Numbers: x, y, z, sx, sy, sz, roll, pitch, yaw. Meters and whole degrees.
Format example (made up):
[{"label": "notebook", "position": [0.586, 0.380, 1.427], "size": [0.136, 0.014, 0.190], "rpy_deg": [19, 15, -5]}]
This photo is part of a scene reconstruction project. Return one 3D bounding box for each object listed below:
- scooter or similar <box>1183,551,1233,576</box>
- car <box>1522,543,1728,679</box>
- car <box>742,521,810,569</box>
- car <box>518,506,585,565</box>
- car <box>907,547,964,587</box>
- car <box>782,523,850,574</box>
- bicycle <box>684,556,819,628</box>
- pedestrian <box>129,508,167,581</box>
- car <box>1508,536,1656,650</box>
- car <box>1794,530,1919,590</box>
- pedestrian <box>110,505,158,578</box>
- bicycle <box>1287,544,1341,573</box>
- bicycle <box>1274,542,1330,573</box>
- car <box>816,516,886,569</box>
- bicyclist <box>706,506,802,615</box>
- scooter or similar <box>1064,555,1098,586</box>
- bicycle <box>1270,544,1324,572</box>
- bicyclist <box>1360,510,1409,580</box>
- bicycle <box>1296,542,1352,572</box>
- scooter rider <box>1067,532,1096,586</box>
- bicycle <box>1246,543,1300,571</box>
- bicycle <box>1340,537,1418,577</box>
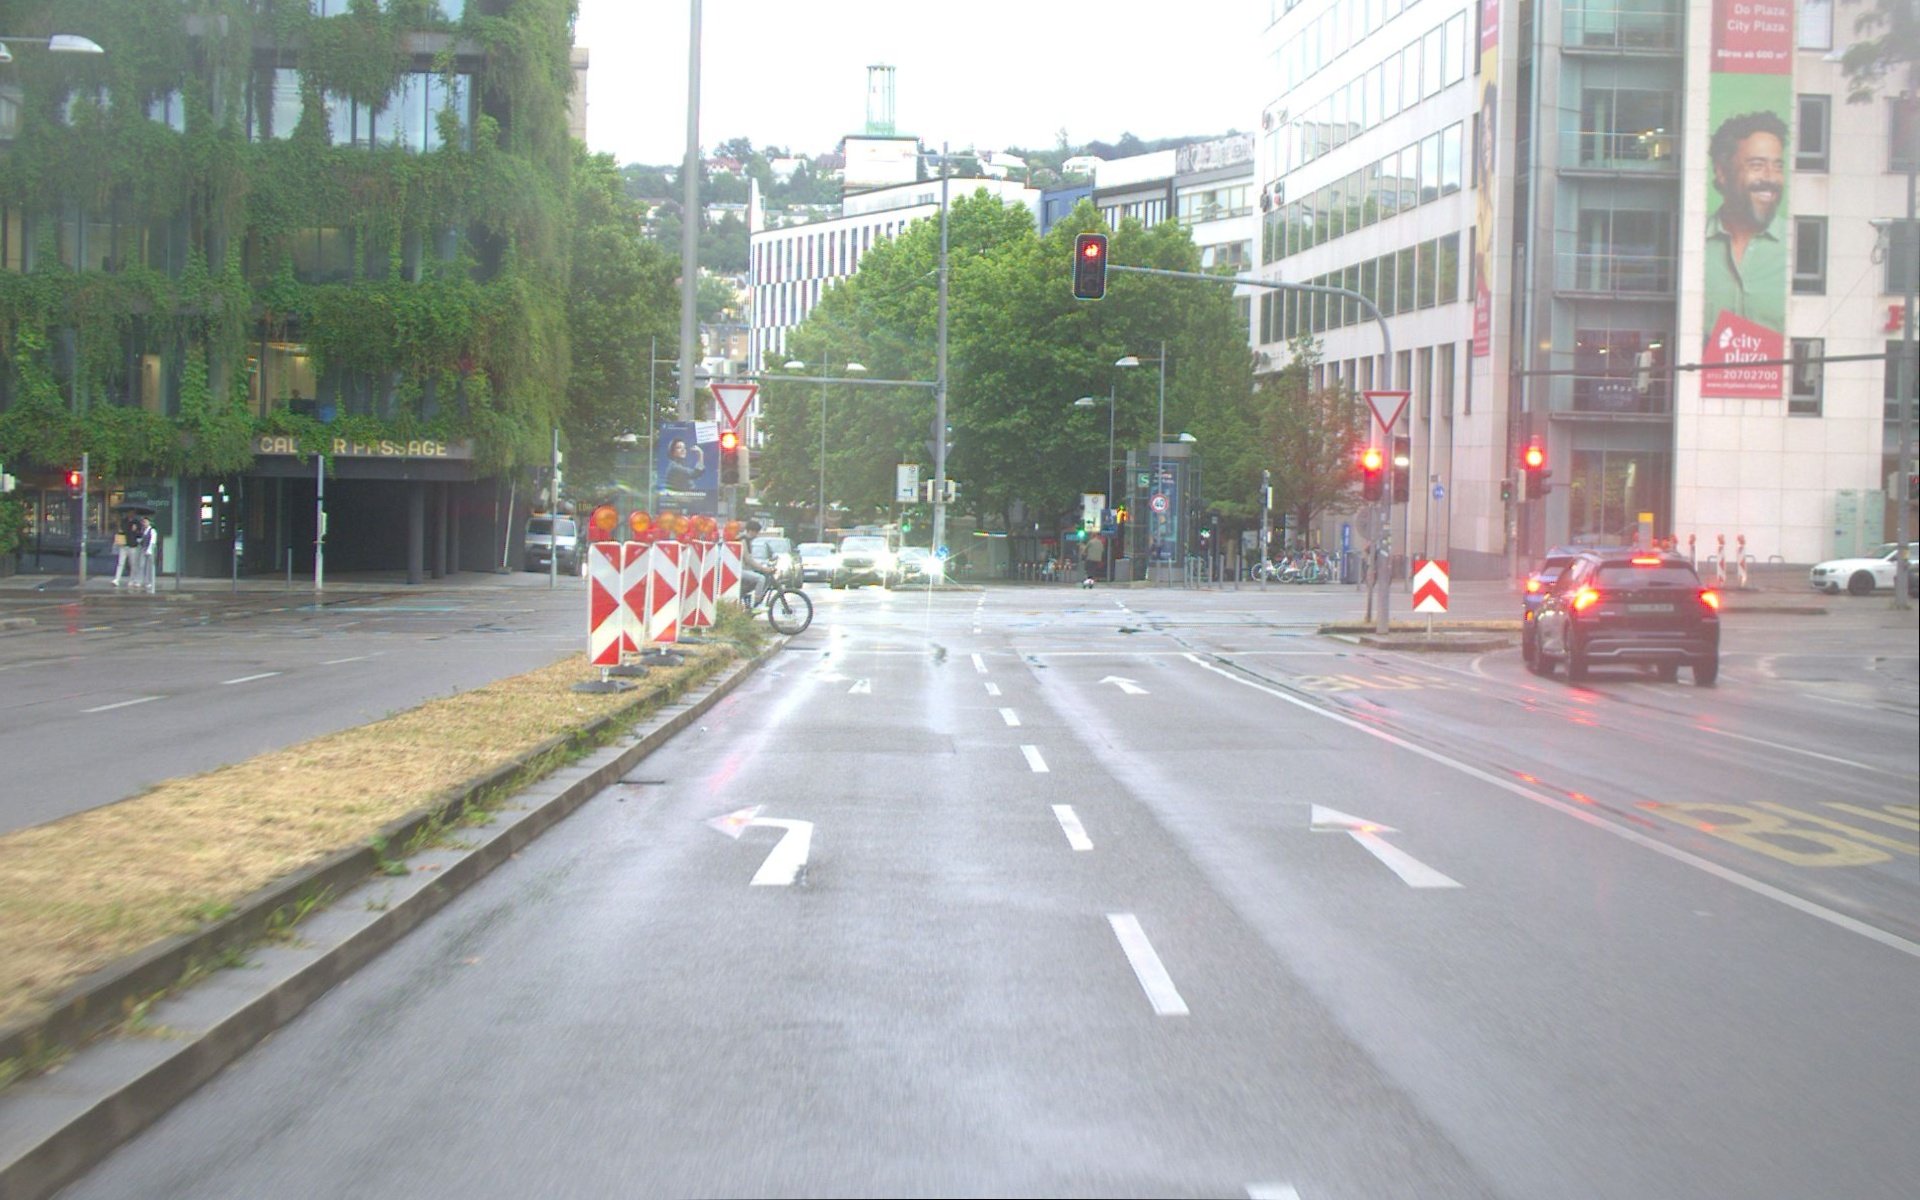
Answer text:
[{"label": "scooter or similar", "position": [8.961, -1.324, 124.289], "size": [1.745, 0.875, 0.489], "rpy_deg": [0, 1, -19]}, {"label": "car", "position": [7.950, 0.090, 41.441], "size": [1.778, 1.534, 4.147], "rpy_deg": [0, 1, 2]}, {"label": "car", "position": [-5.852, -1.747, 108.714], "size": [1.856, 1.443, 4.622], "rpy_deg": [0, 2, -7]}, {"label": "car", "position": [-13.360, -2.133, 112.672], "size": [1.993, 1.888, 4.466], "rpy_deg": [0, 1, -5]}, {"label": "car", "position": [-0.990, -1.312, 135.536], "size": [1.993, 1.438, 4.557], "rpy_deg": [0, 2, -4]}, {"label": "car", "position": [-5.257, -1.888, 124.926], "size": [2.174, 1.817, 4.645], "rpy_deg": [0, 1, -6]}, {"label": "bicycle", "position": [-3.288, -0.141, 54.424], "size": [0.847, 1.099, 2.147], "rpy_deg": [1, 2, 42]}, {"label": "pedestrian", "position": [-19.704, -1.350, 83.425], "size": [0.741, 1.752, 0.976], "rpy_deg": [0, 1, -24]}, {"label": "car", "position": [8.827, -0.140, 48.548], "size": [1.704, 1.524, 4.424], "rpy_deg": [1, 1, 15]}, {"label": "car", "position": [25.226, -1.089, 93.612], "size": [4.449, 1.592, 2.001], "rpy_deg": [0, 1, -15]}, {"label": "pedestrian", "position": [-19.992, -1.408, 83.157], "size": [0.935, 1.752, 1.172], "rpy_deg": [0, 1, -24]}, {"label": "bicycle", "position": [11.415, -1.345, 110.895], "size": [1.799, 0.931, 0.474], "rpy_deg": [1, 2, 41]}, {"label": "bicycle", "position": [10.791, -1.345, 108.543], "size": [1.799, 0.931, 0.474], "rpy_deg": [1, 2, 41]}, {"label": "car", "position": [-3.291, -1.742, 102.720], "size": [1.993, 1.545, 4.556], "rpy_deg": [0, 1, -3]}, {"label": "bicyclist", "position": [-3.263, -0.629, 54.459], "size": [0.847, 1.698, 1.296], "rpy_deg": [1, 2, 42]}, {"label": "scooter or similar", "position": [4.052, -0.988, 115.062], "size": [0.556, 1.003, 1.824], "rpy_deg": [0, 1, -18]}, {"label": "bicycle", "position": [11.294, -1.421, 115.223], "size": [1.794, 0.931, 0.475], "rpy_deg": [0, 1, 3]}, {"label": "bicyclist", "position": [12.025, -1.564, 97.291], "size": [0.791, 1.968, 1.114], "rpy_deg": [0, 1, -41]}, {"label": "bicycle", "position": [11.557, -1.356, 109.184], "size": [1.799, 0.931, 0.474], "rpy_deg": [1, 2, 41]}, {"label": "scooter rider", "position": [4.055, -1.375, 115.028], "size": [0.762, 1.768, 0.796], "rpy_deg": [0, 1, -17]}, {"label": "bicycle", "position": [10.646, -1.454, 117.073], "size": [1.794, 0.931, 0.475], "rpy_deg": [0, 1, 3]}, {"label": "bicycle", "position": [11.876, -1.225, 97.456], "size": [0.791, 1.113, 2.255], "rpy_deg": [0, 1, -41]}]
